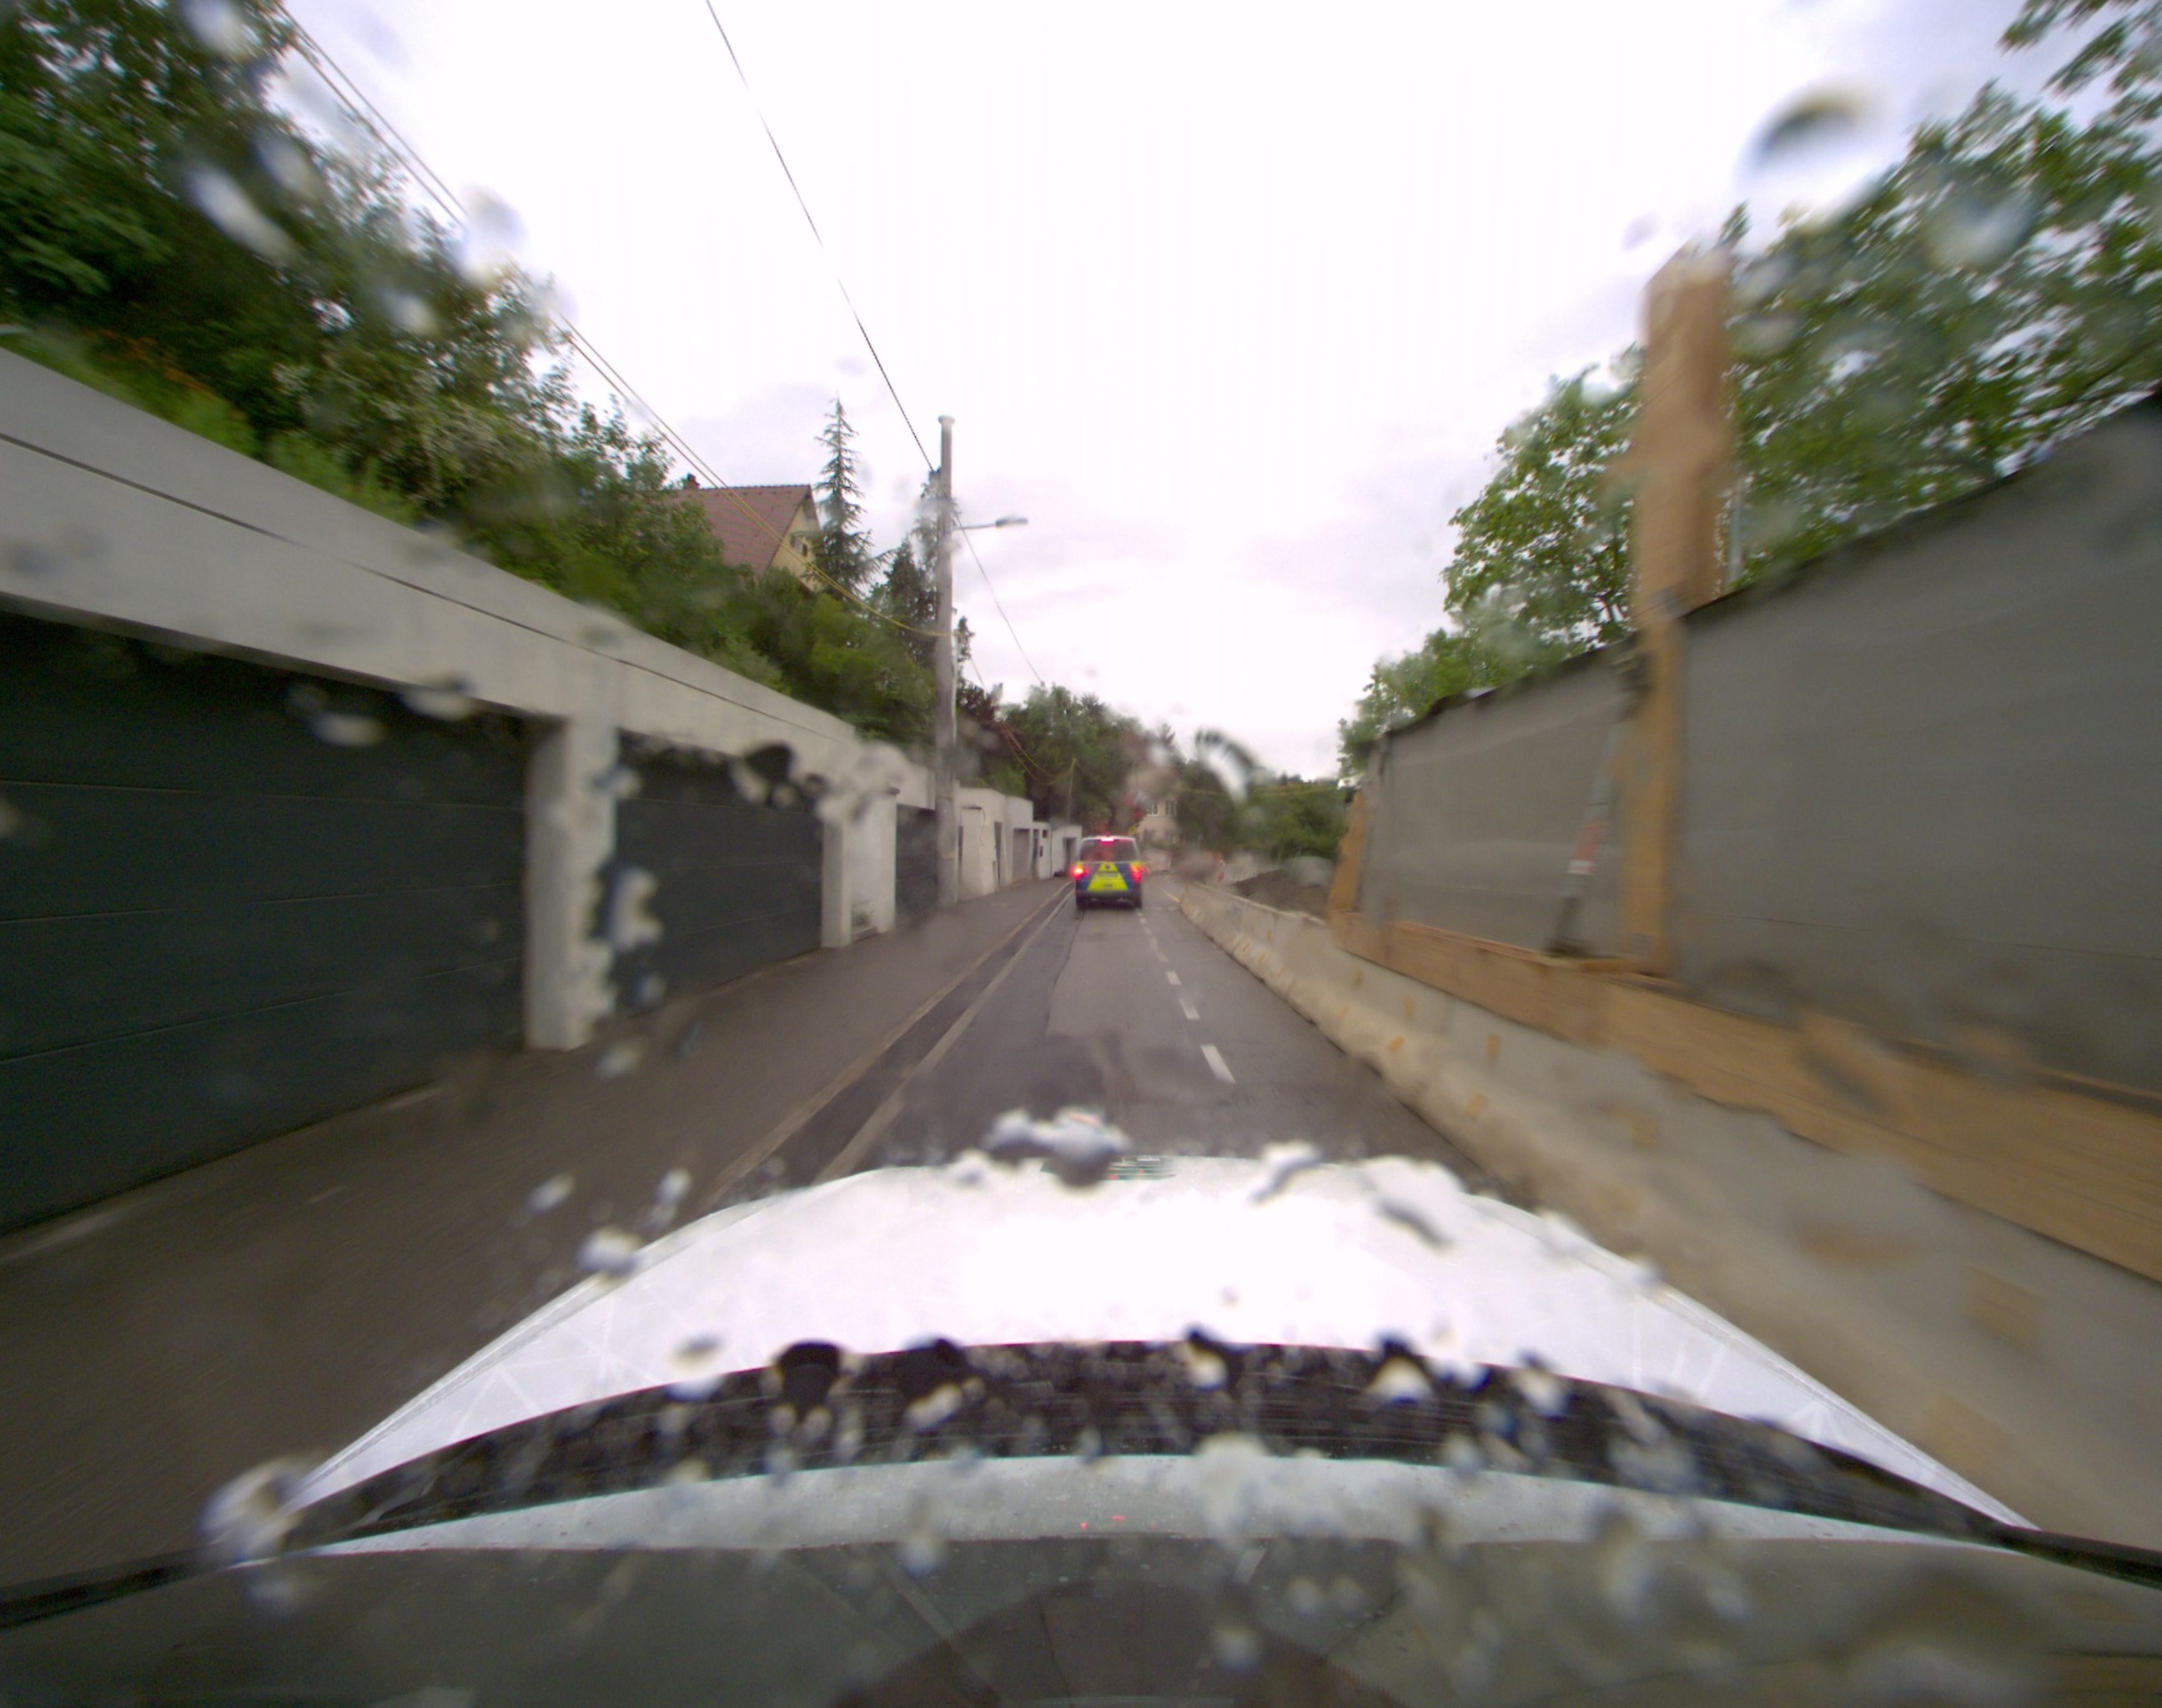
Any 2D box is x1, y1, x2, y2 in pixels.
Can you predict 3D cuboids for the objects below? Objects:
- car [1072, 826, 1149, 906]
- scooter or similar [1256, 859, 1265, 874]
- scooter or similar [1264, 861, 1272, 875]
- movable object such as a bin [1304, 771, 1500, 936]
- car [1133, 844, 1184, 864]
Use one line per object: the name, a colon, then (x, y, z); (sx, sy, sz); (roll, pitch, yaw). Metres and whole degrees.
car: (0.922, 0.347, 23.497); (1.899, 2.010, 4.444); (3, -1, 4)
scooter or similar: (15.069, 1.061, 68.363); (0.462, 1.187, 1.026); (3, -1, 3)
scooter or similar: (15.604, 1.195, 68.023); (0.462, 1.144, 0.995); (3, -1, 2)
movable object such as a bin: (6.948, 0.017, 18.493); (2.483, 3.075, 5.594); (3, -1, 4)
car: (6.626, -0.022, 70.110); (3.949, 1.517, 1.738); (2, -1, 32)
